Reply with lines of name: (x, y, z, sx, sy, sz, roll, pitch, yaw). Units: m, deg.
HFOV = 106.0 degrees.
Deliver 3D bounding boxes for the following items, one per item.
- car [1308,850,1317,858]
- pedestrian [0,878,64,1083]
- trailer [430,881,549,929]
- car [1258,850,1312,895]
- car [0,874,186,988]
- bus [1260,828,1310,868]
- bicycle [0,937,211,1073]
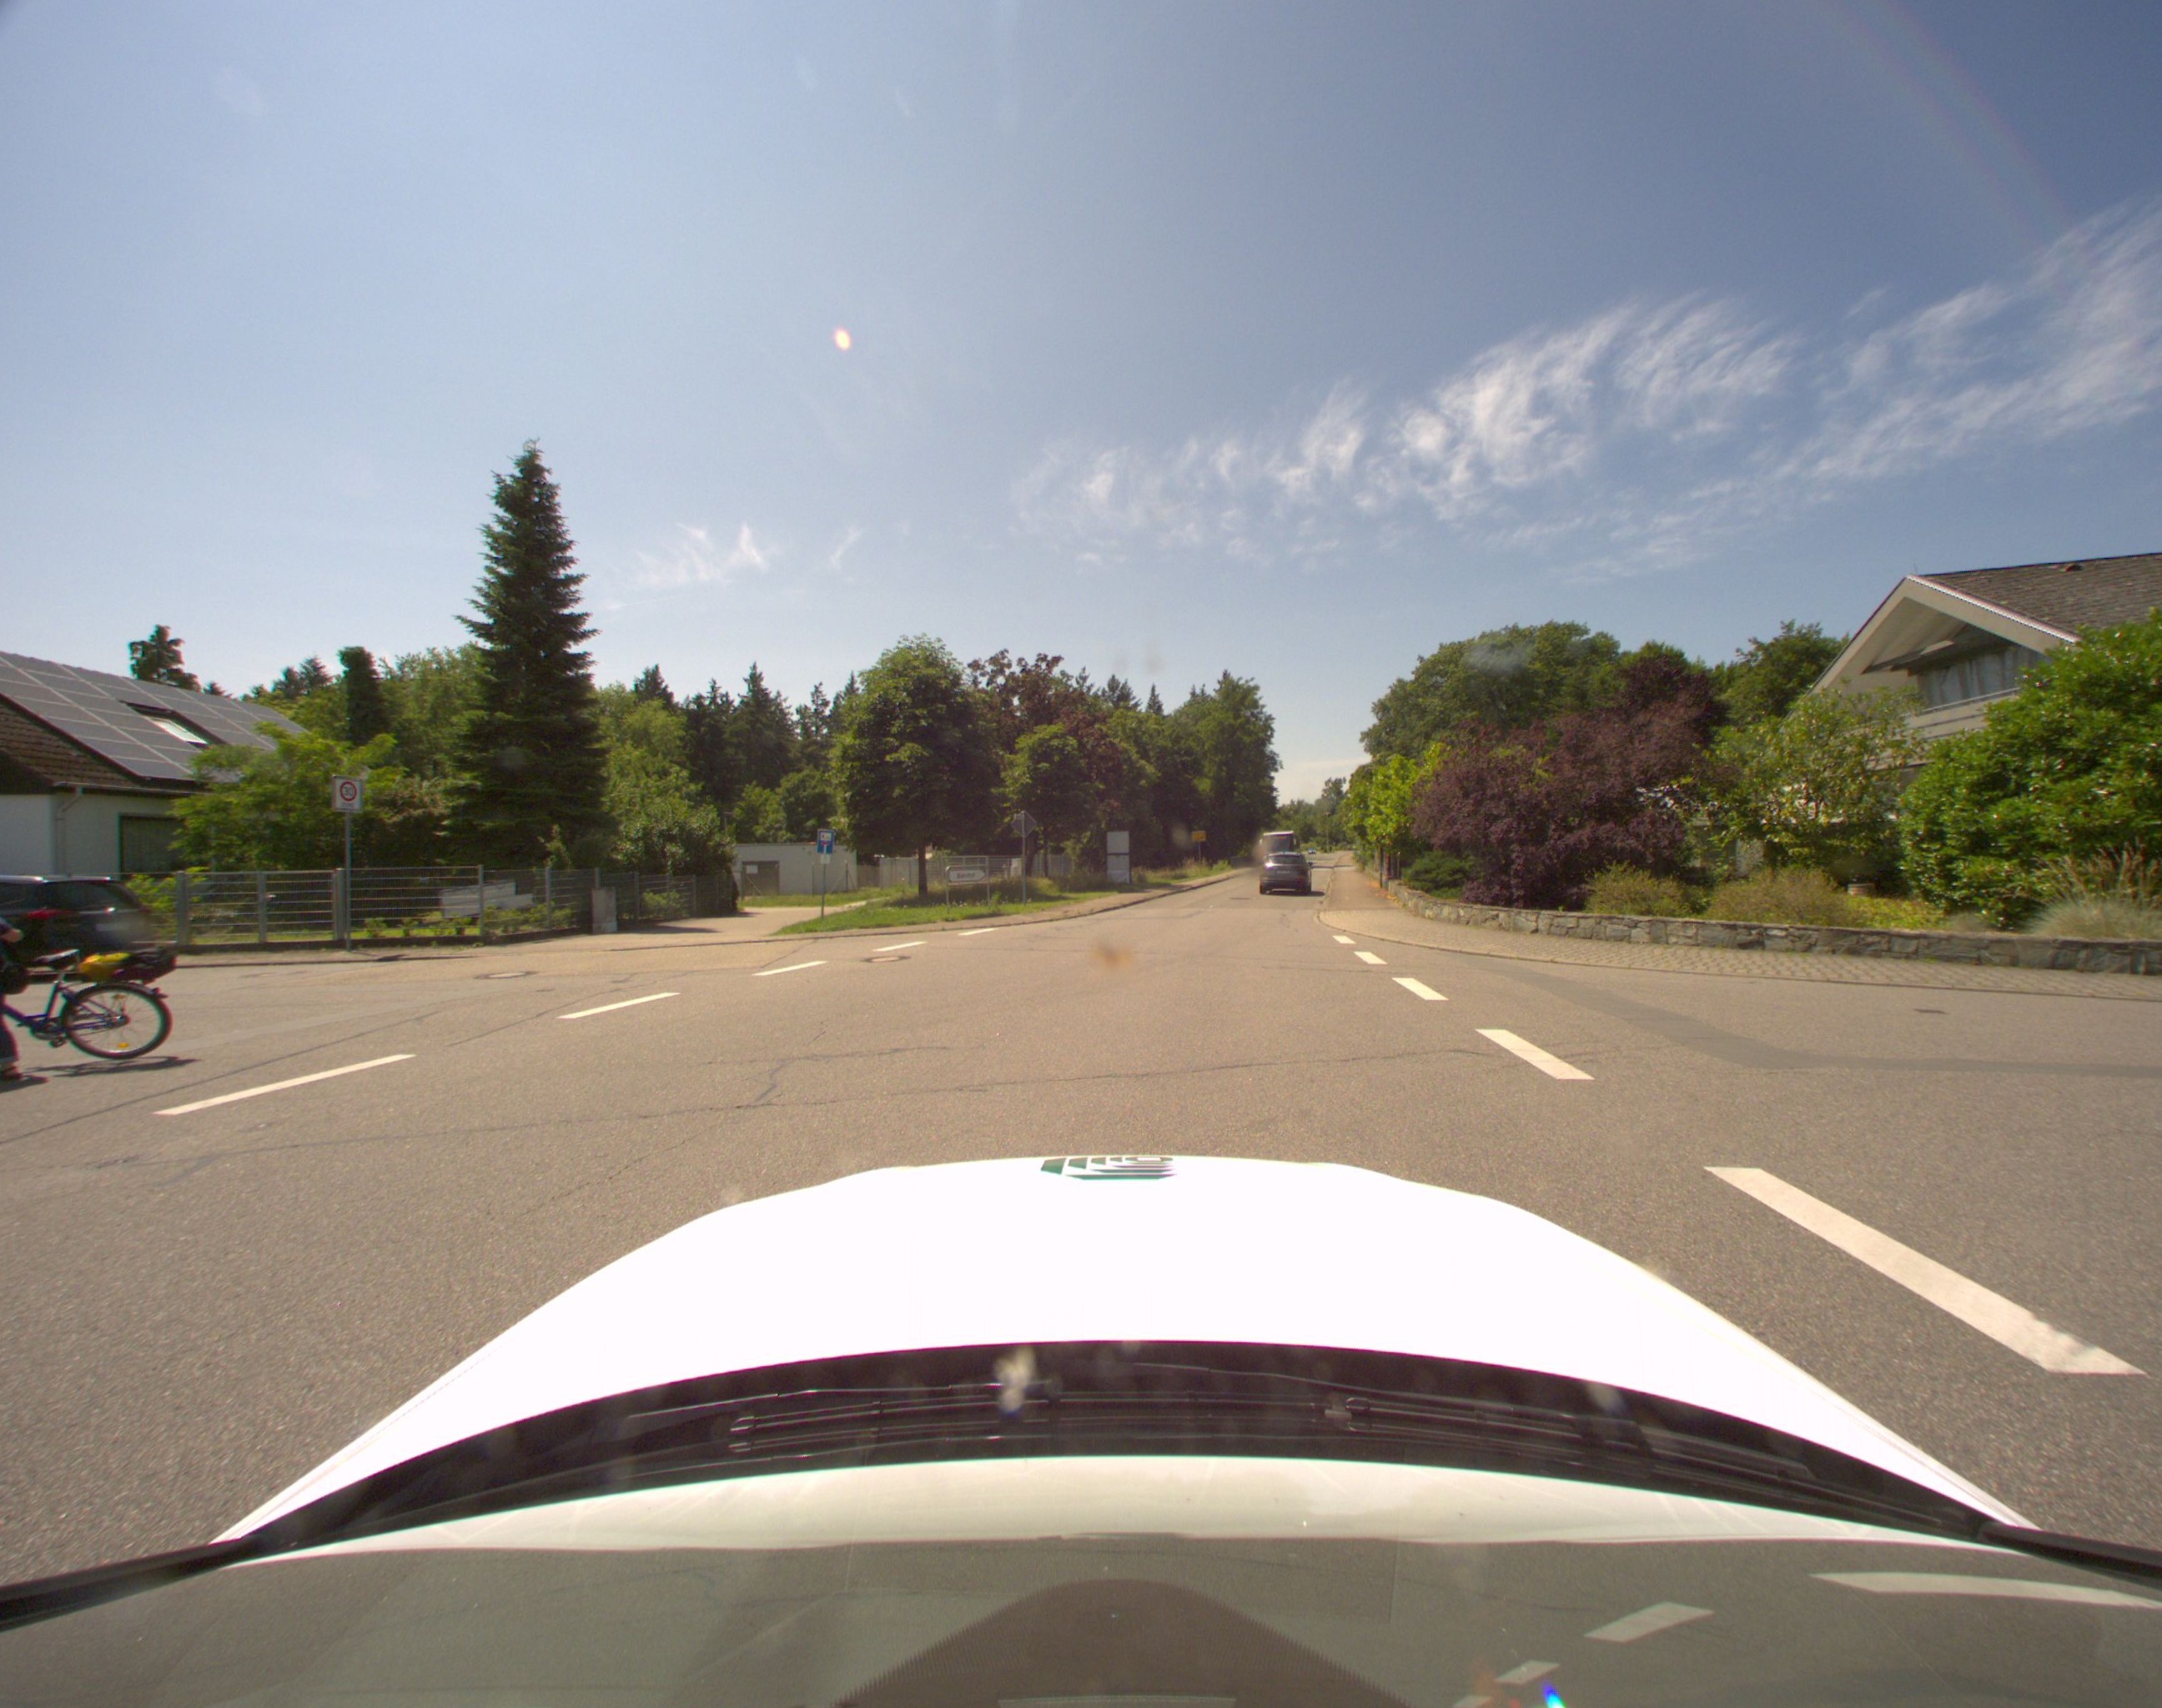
car: (57.114, 0.020, 200.788, 1.937, 1.860, 4.015, -1, 0, 14)
pedestrian: (-8.350, 0.948, 6.173, 0.612, 1.501, 0.501, -1, 0, -20)
trailer: (-15.179, 1.286, 20.992, 2.220, 1.084, 1.100, -1, 0, -16)
car: (7.982, 0.689, 31.657, 1.748, 1.618, 4.018, 0, 0, 18)
car: (-17.923, 1.217, 13.005, 4.663, 1.662, 1.964, -1, 0, -8)
bus: (18.719, -0.492, 74.009, 3.155, 3.244, 12.774, -1, 0, 19)
bicycle: (-8.433, 1.226, 6.615, 1.849, 0.964, 0.440, -1, 0, -20)
